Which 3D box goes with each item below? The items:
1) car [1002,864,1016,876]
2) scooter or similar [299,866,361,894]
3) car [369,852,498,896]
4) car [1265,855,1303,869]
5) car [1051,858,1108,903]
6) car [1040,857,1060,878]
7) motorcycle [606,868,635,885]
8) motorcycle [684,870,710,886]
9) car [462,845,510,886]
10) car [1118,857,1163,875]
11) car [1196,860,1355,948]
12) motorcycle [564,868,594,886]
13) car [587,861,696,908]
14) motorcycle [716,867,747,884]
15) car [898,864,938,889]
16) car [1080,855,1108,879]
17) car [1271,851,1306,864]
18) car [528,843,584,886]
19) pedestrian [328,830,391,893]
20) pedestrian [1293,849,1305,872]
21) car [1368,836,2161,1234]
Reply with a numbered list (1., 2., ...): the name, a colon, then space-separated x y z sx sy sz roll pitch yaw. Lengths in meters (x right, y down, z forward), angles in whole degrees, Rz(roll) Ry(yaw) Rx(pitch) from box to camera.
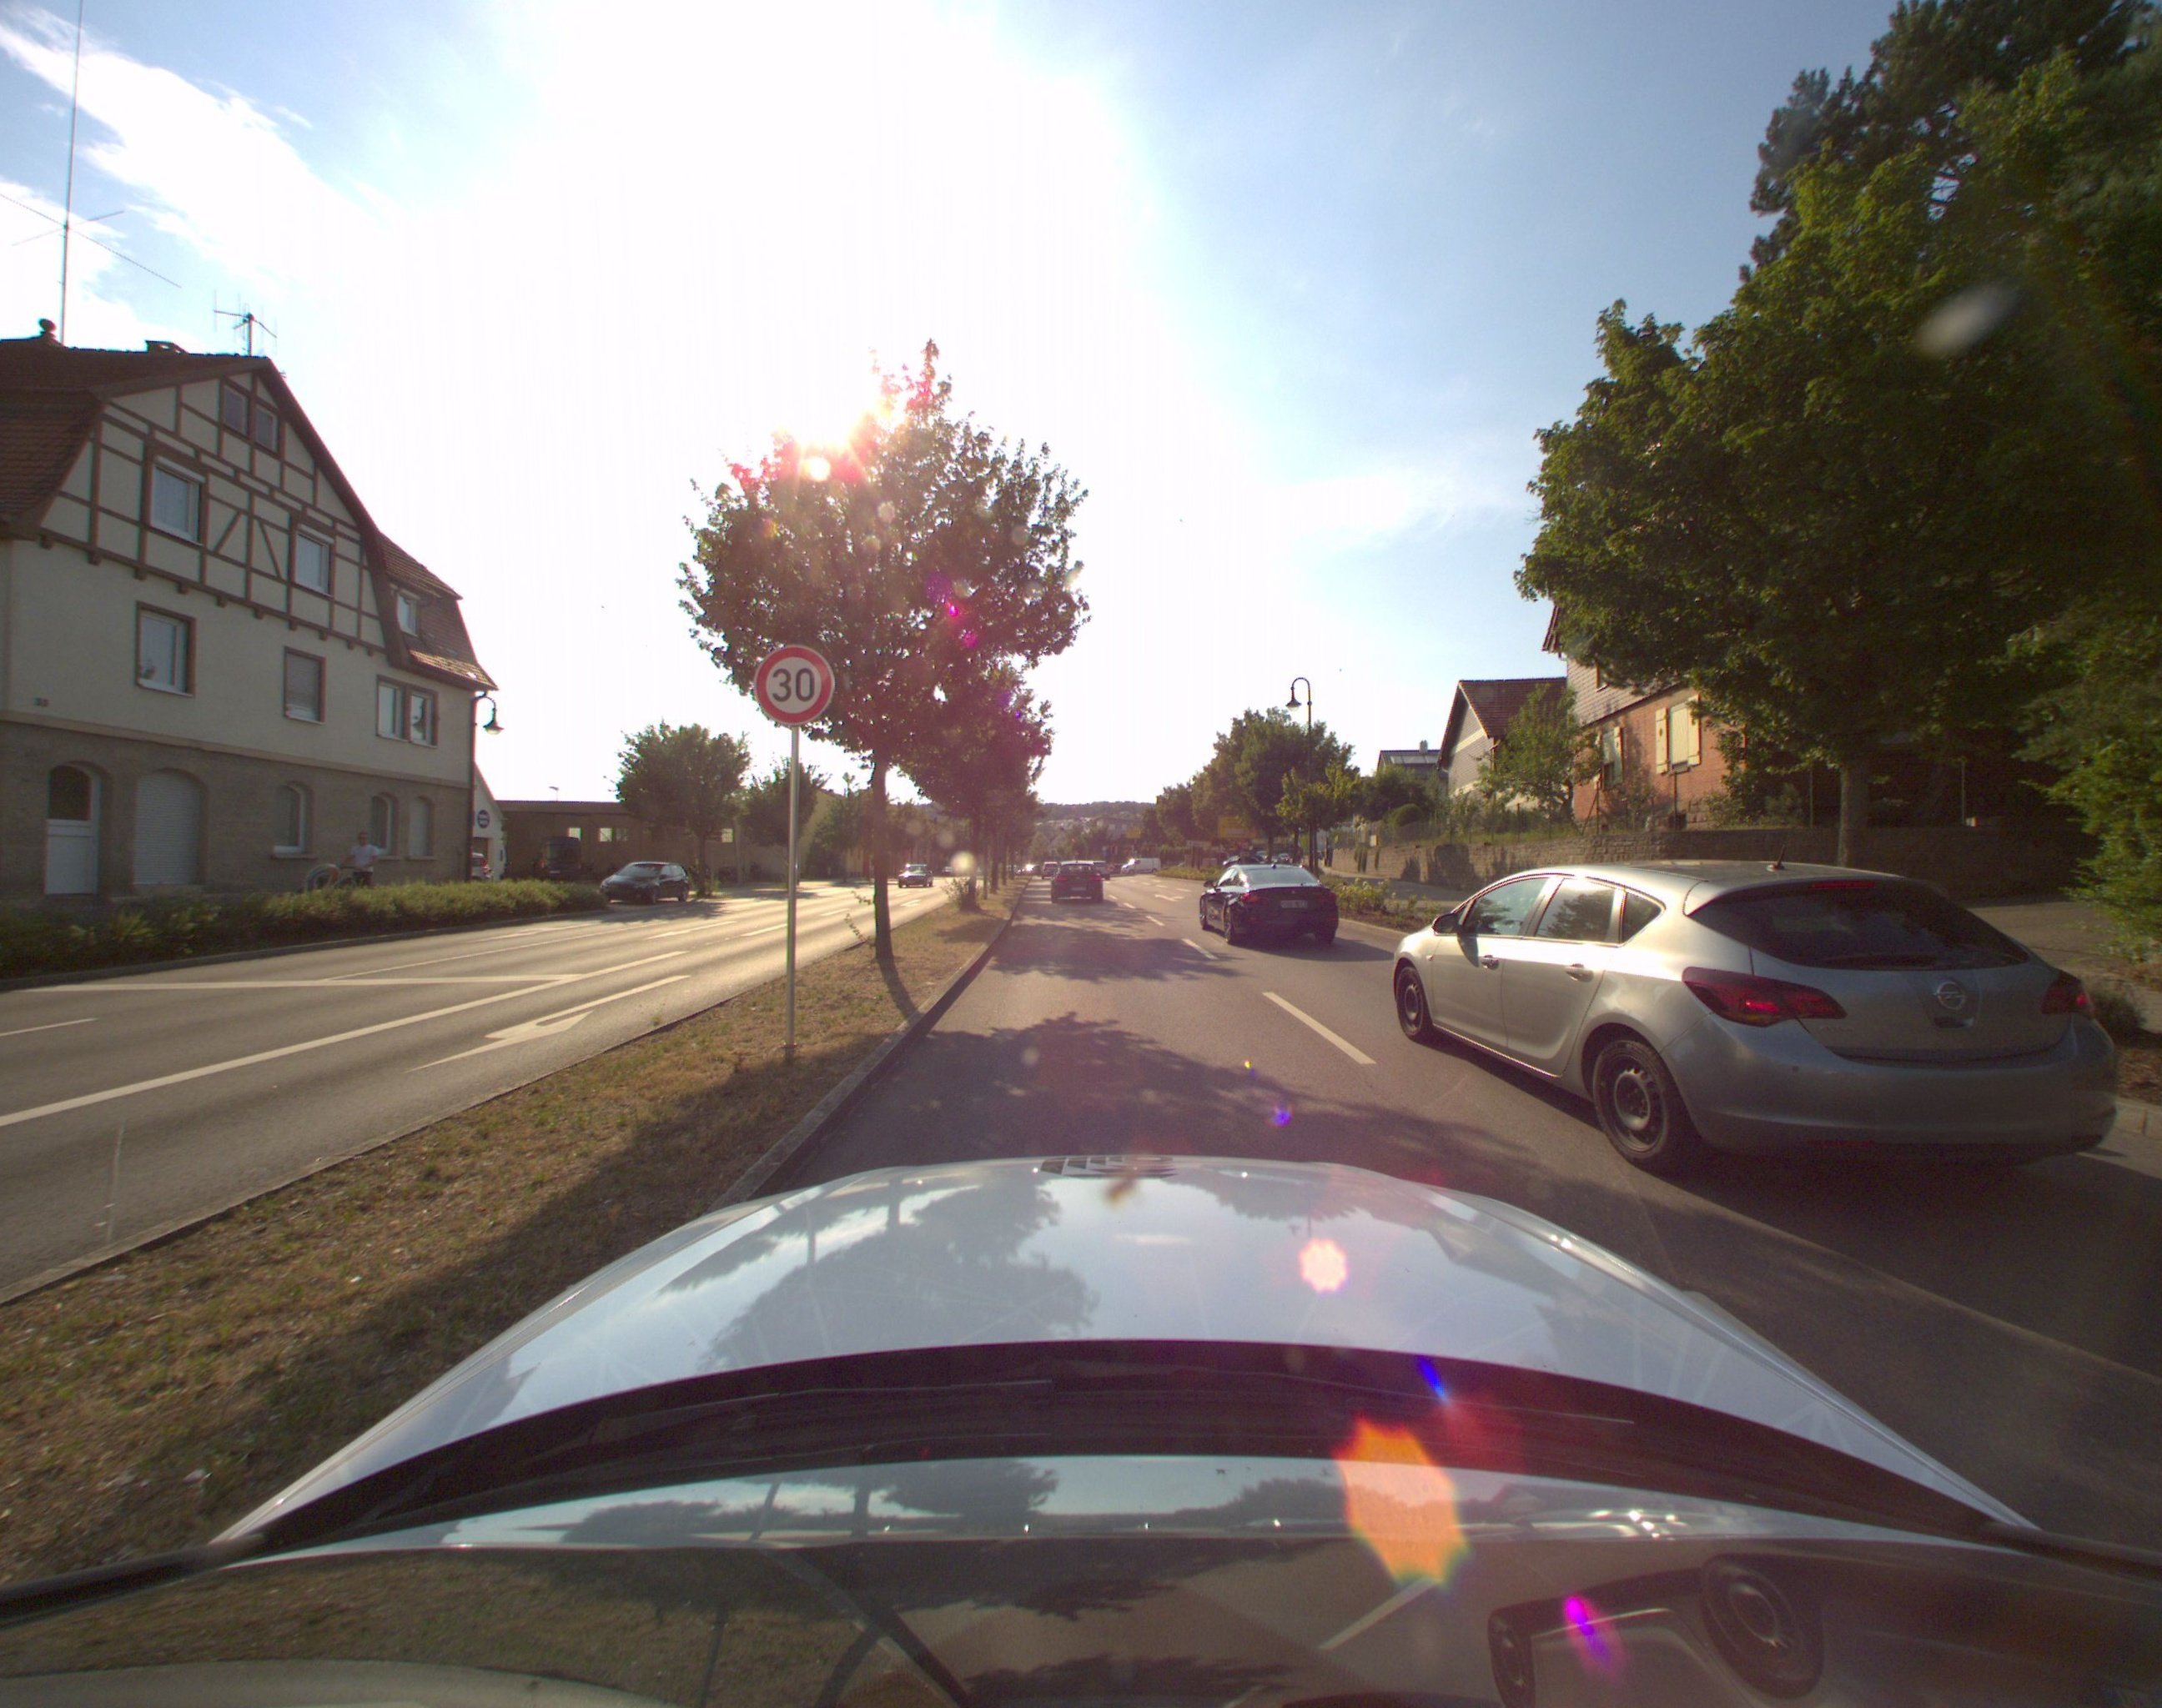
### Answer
1. car: -10.180 2.269 115.130 1.725 1.679 3.997 -1 0 -2
2. scooter or similar: -16.509 0.562 17.917 0.442 0.582 1.042 -1 0 -4
3. car: -24.629 0.783 31.084 3.698 1.477 1.803 4 -1 -40
4. car: 27.717 1.059 111.464 4.624 1.829 1.996 -1 0 -6
5. car: 0.023 0.885 29.186 1.713 1.490 4.357 -1 0 4
6. car: -2.836 1.188 73.963 1.752 1.769 3.966 -1 0 -3
7. motorcycle: -30.422 1.482 53.838 0.511 1.107 1.647 -1 -1 29
8. motorcycle: -25.404 1.554 53.949 0.511 1.005 1.552 -1 0 27
9. car: -34.816 0.632 47.605 2.052 2.150 4.272 4 -1 -38
10. car: 7.402 1.486 101.569 5.111 2.130 2.138 -1 0 -12
11. car: 3.412 0.813 15.165 1.914 1.364 4.352 -1 -1 0
12. motorcycle: -33.007 1.507 53.594 0.511 1.069 1.647 -1 -1 29
13. car: -15.767 1.052 29.483 1.752 1.454 4.128 3 -1 -3
14. motorcycle: -23.160 1.451 53.999 0.510 1.069 1.882 -1 -1 33
15. car: -9.851 1.324 49.484 1.752 1.361 4.479 -1 0 -3
16. car: 0.984 0.979 64.334 1.921 1.769 4.449 -1 0 -3
17. car: 30.640 0.511 120.171 4.624 1.829 1.996 -1 0 -6
18. car: -31.308 0.591 48.513 2.053 2.336 4.269 4 -1 -41
19. pedestrian: -16.657 0.170 18.813 0.811 1.394 0.706 -1 0 -4
20. pedestrian: 16.376 0.459 61.150 0.692 1.703 0.951 -1 -1 5
21. car: 3.429 0.684 5.276 1.714 1.490 4.308 -1 0 2
